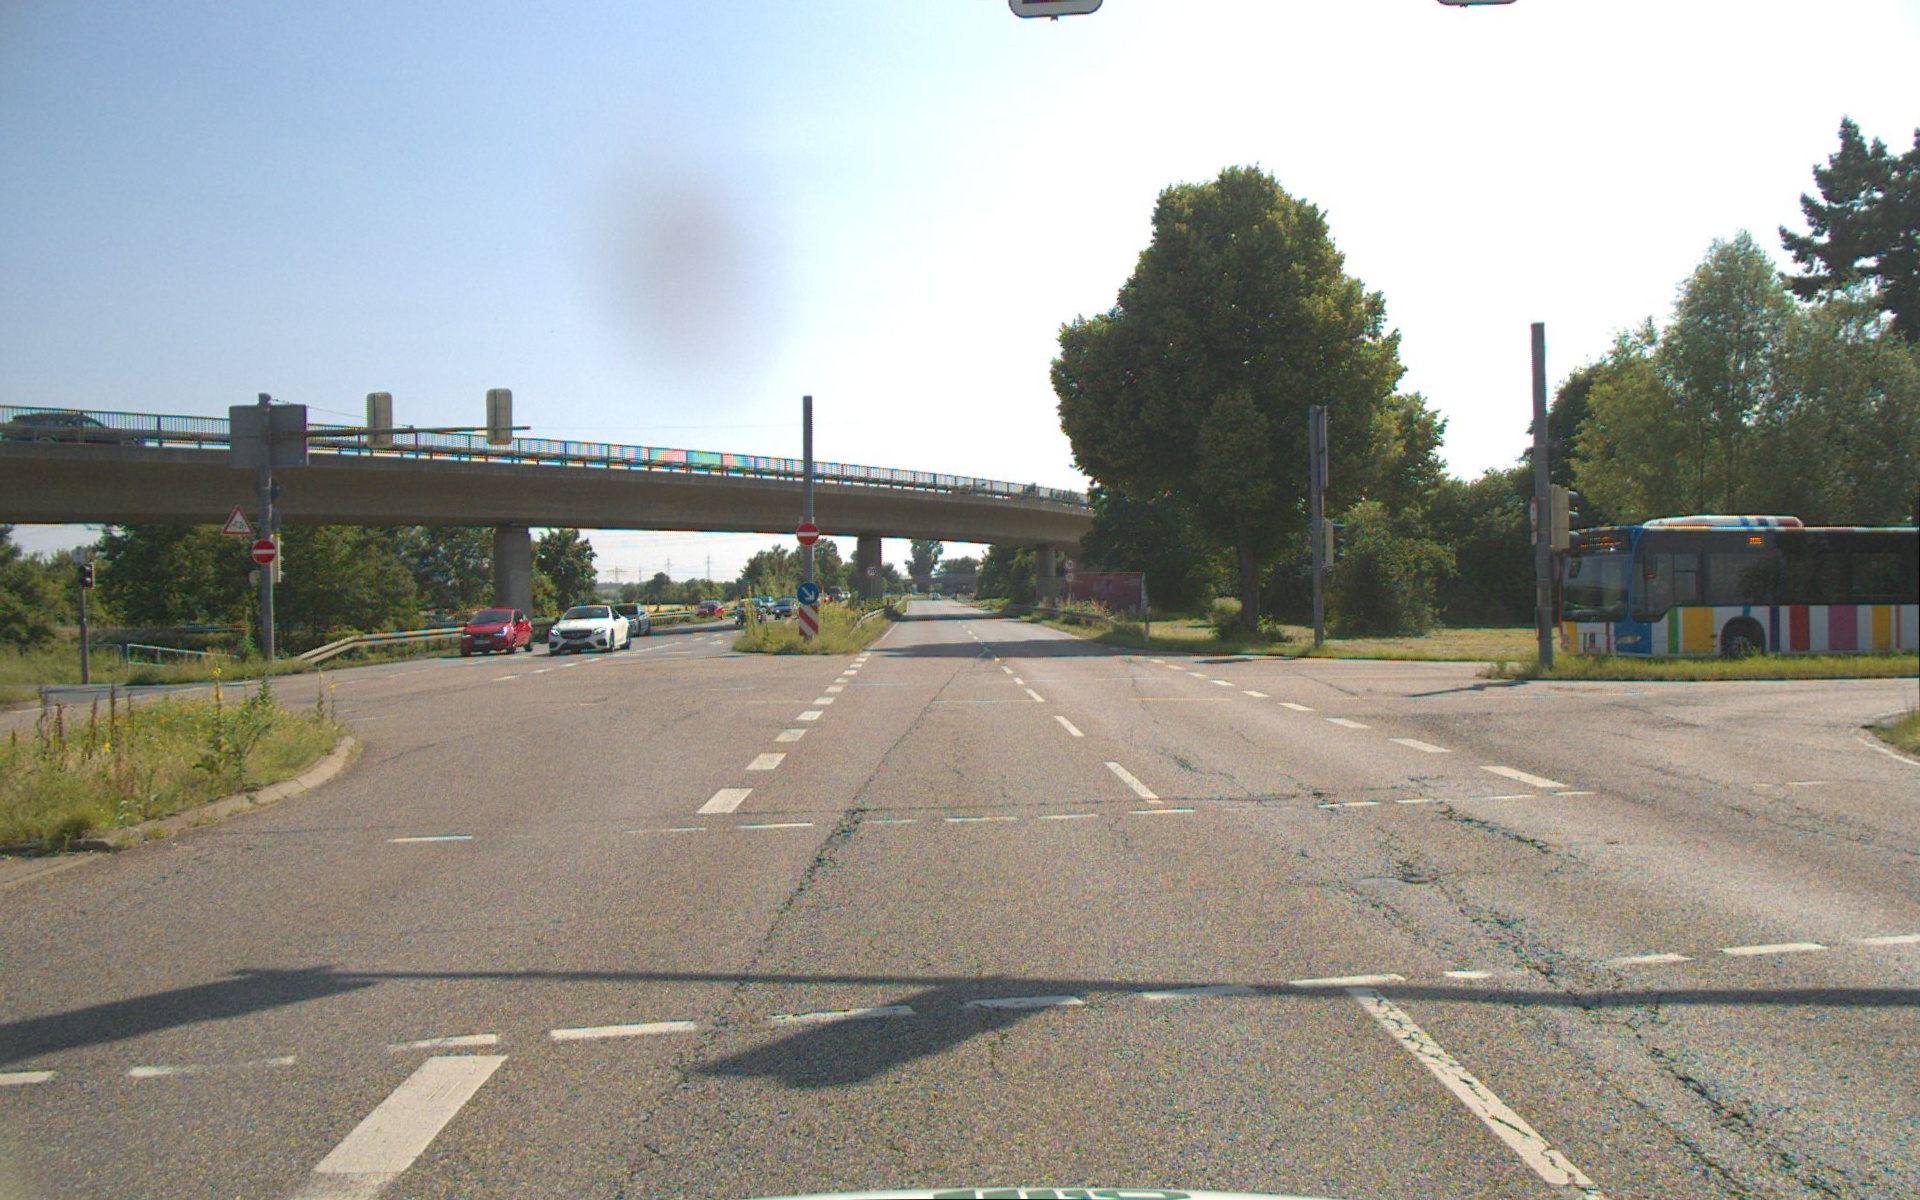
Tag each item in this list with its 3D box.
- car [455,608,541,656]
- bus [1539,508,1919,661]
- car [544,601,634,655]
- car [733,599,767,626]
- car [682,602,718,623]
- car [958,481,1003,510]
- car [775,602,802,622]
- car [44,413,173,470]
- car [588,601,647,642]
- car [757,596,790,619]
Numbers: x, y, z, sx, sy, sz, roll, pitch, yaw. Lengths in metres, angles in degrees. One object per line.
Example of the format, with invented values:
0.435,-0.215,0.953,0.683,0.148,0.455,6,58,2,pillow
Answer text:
-14.749,1.006,52.984,1.607,1.409,4.239,-2,0,-2,car
18.449,-0.422,35.639,11.745,2.927,2.929,-2,0,-16,bus
-11.251,0.809,50.403,1.819,1.473,4.239,-3,0,-2,car
-12.577,0.740,99.105,1.525,1.567,3.999,-2,0,-1,car
-21.074,1.002,134.104,1.951,1.585,4.002,-2,0,5,car
1.270,-6.466,102.491,1.506,1.503,3.389,-3,-1,24,car
-12.026,0.840,116.303,1.525,1.281,3.999,-2,0,-1,car
-27.511,-5.085,53.516,1.510,1.503,3.378,-3,-1,36,car
-14.783,0.921,71.550,1.754,1.656,3.998,-2,0,-2,car
-17.260,0.667,153.243,1.951,2.049,4.004,-2,0,11,car
